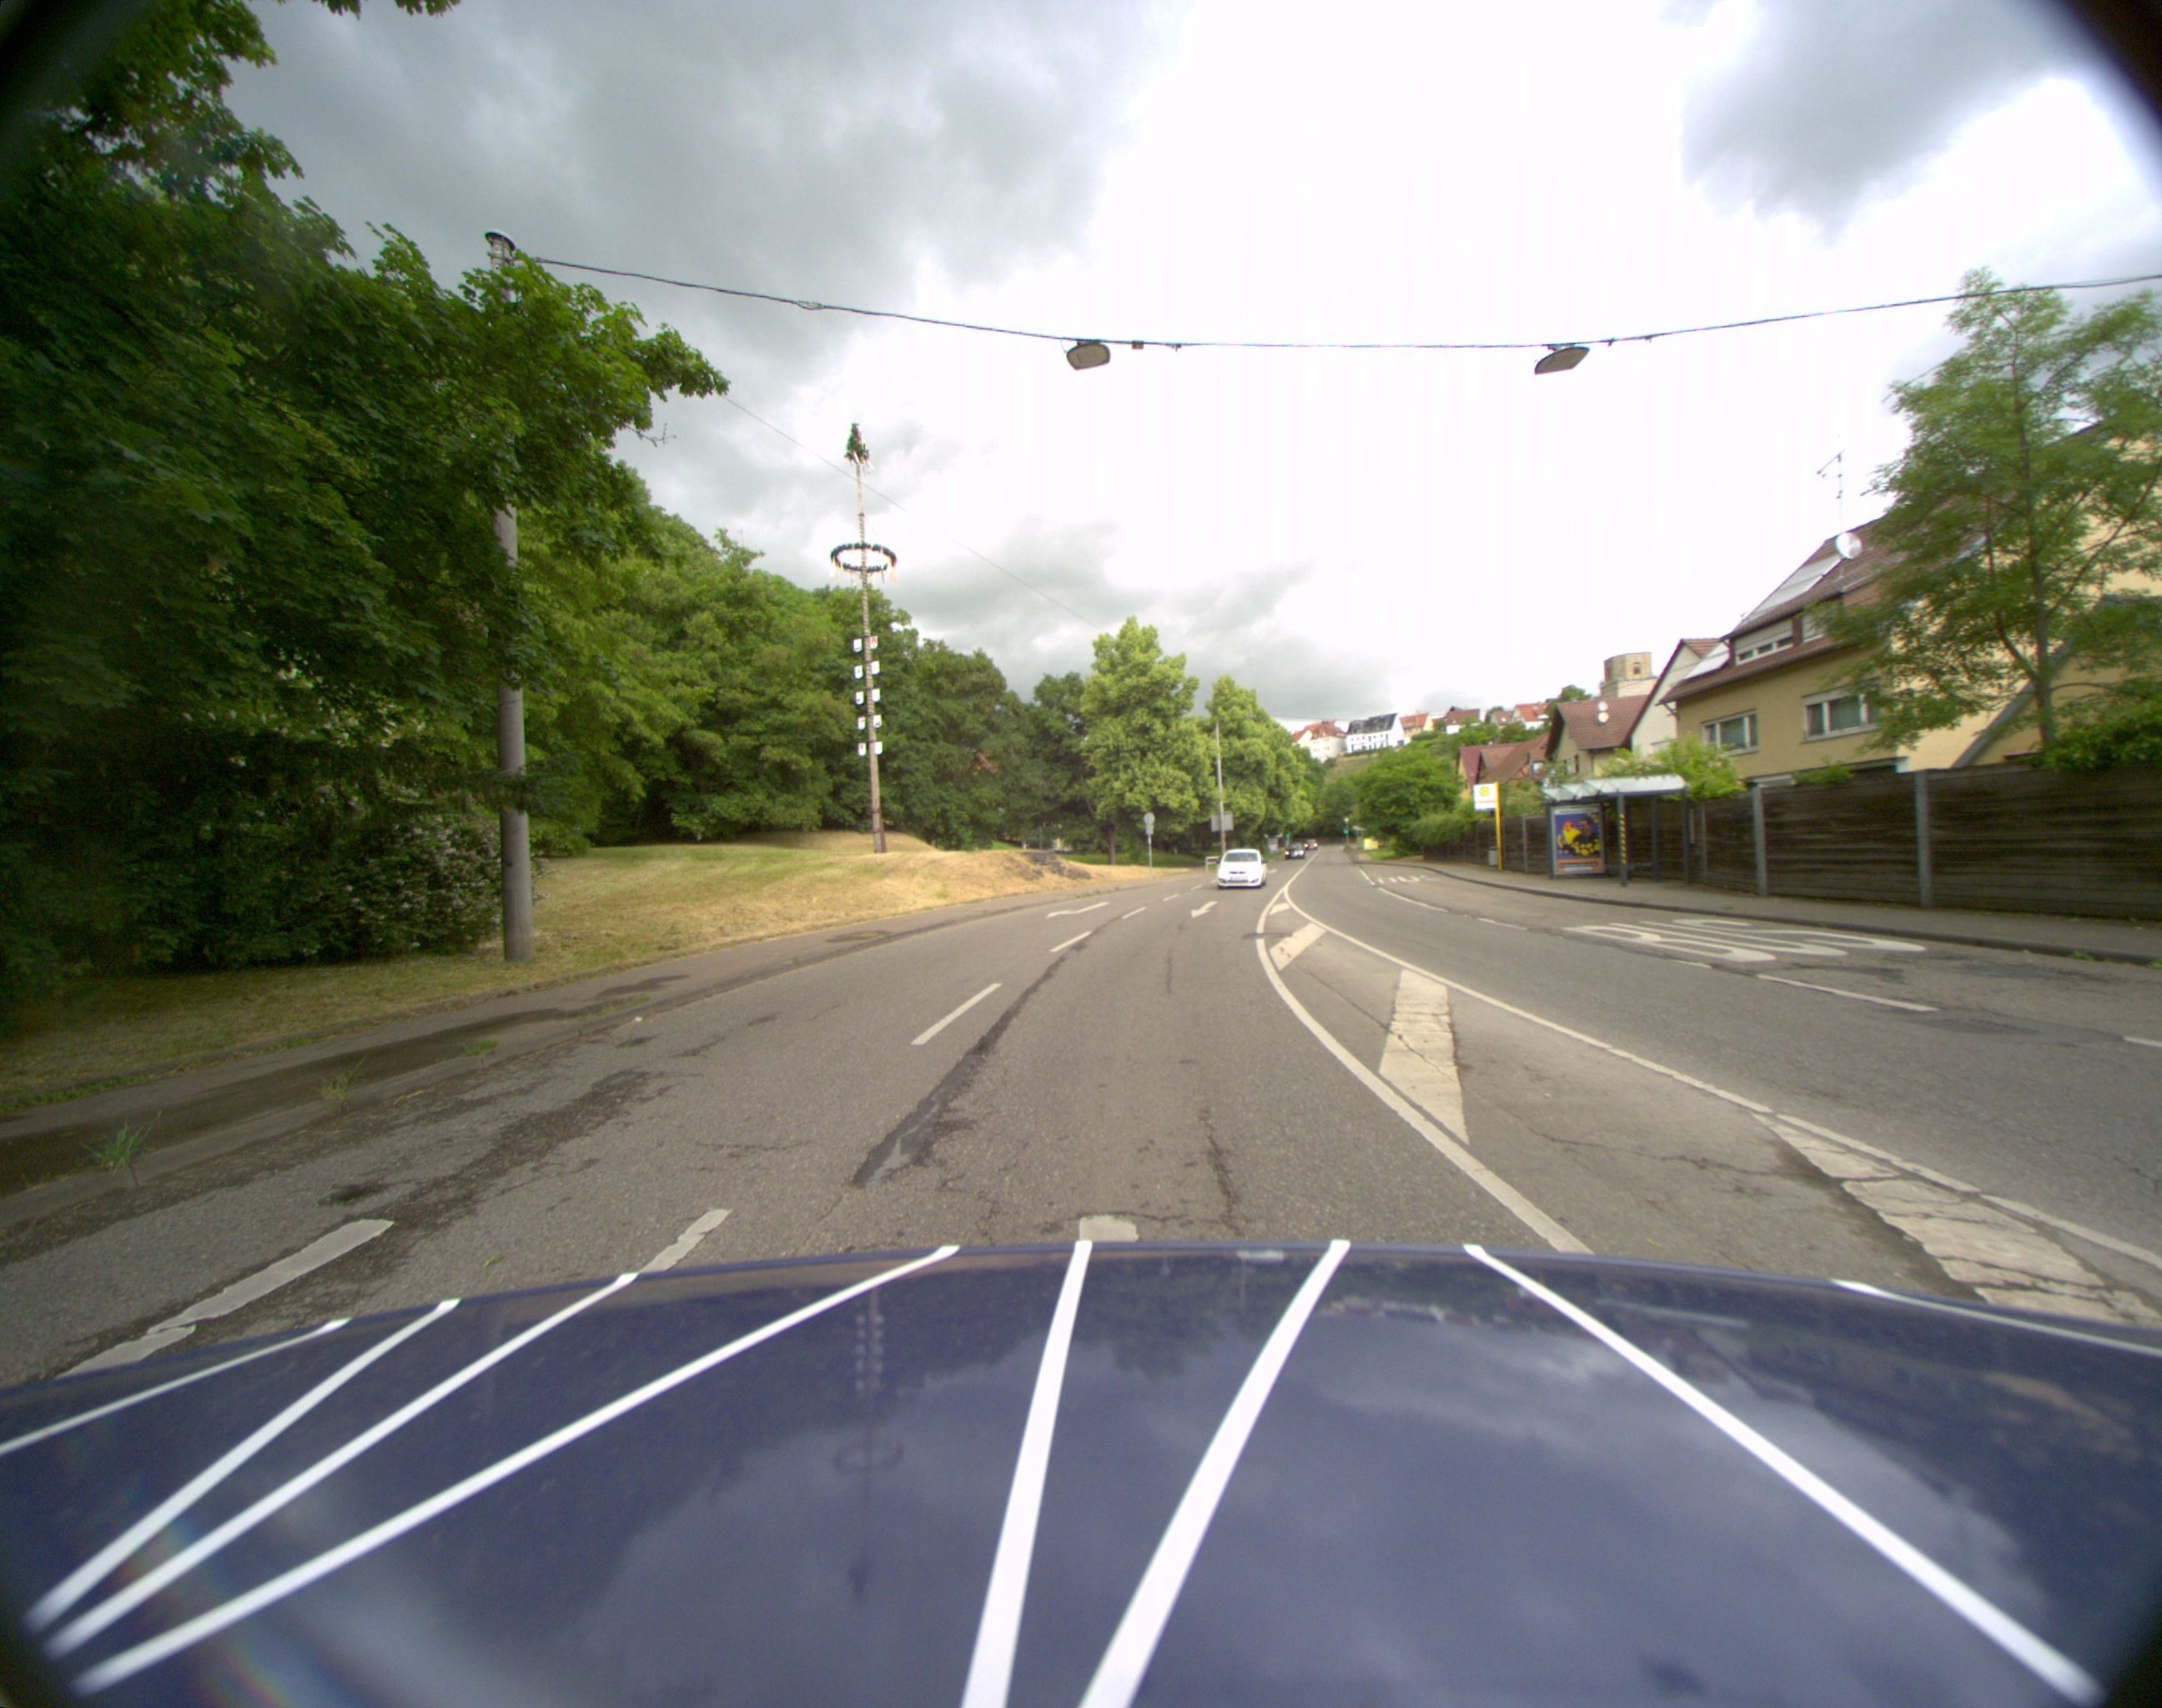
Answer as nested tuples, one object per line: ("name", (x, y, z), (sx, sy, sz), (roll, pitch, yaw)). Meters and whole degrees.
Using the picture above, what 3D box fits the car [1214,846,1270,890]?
("car", (6.256, 0.505, 29.268), (1.761, 1.516, 3.687), (-2, 1, 17))

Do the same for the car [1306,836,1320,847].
("car", (36.949, -2.037, 120.841), (1.761, 1.575, 3.688), (-2, 1, 22))

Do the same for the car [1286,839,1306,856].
("car", (20.772, -0.620, 73.253), (1.761, 1.575, 3.687), (-2, 1, 17))
